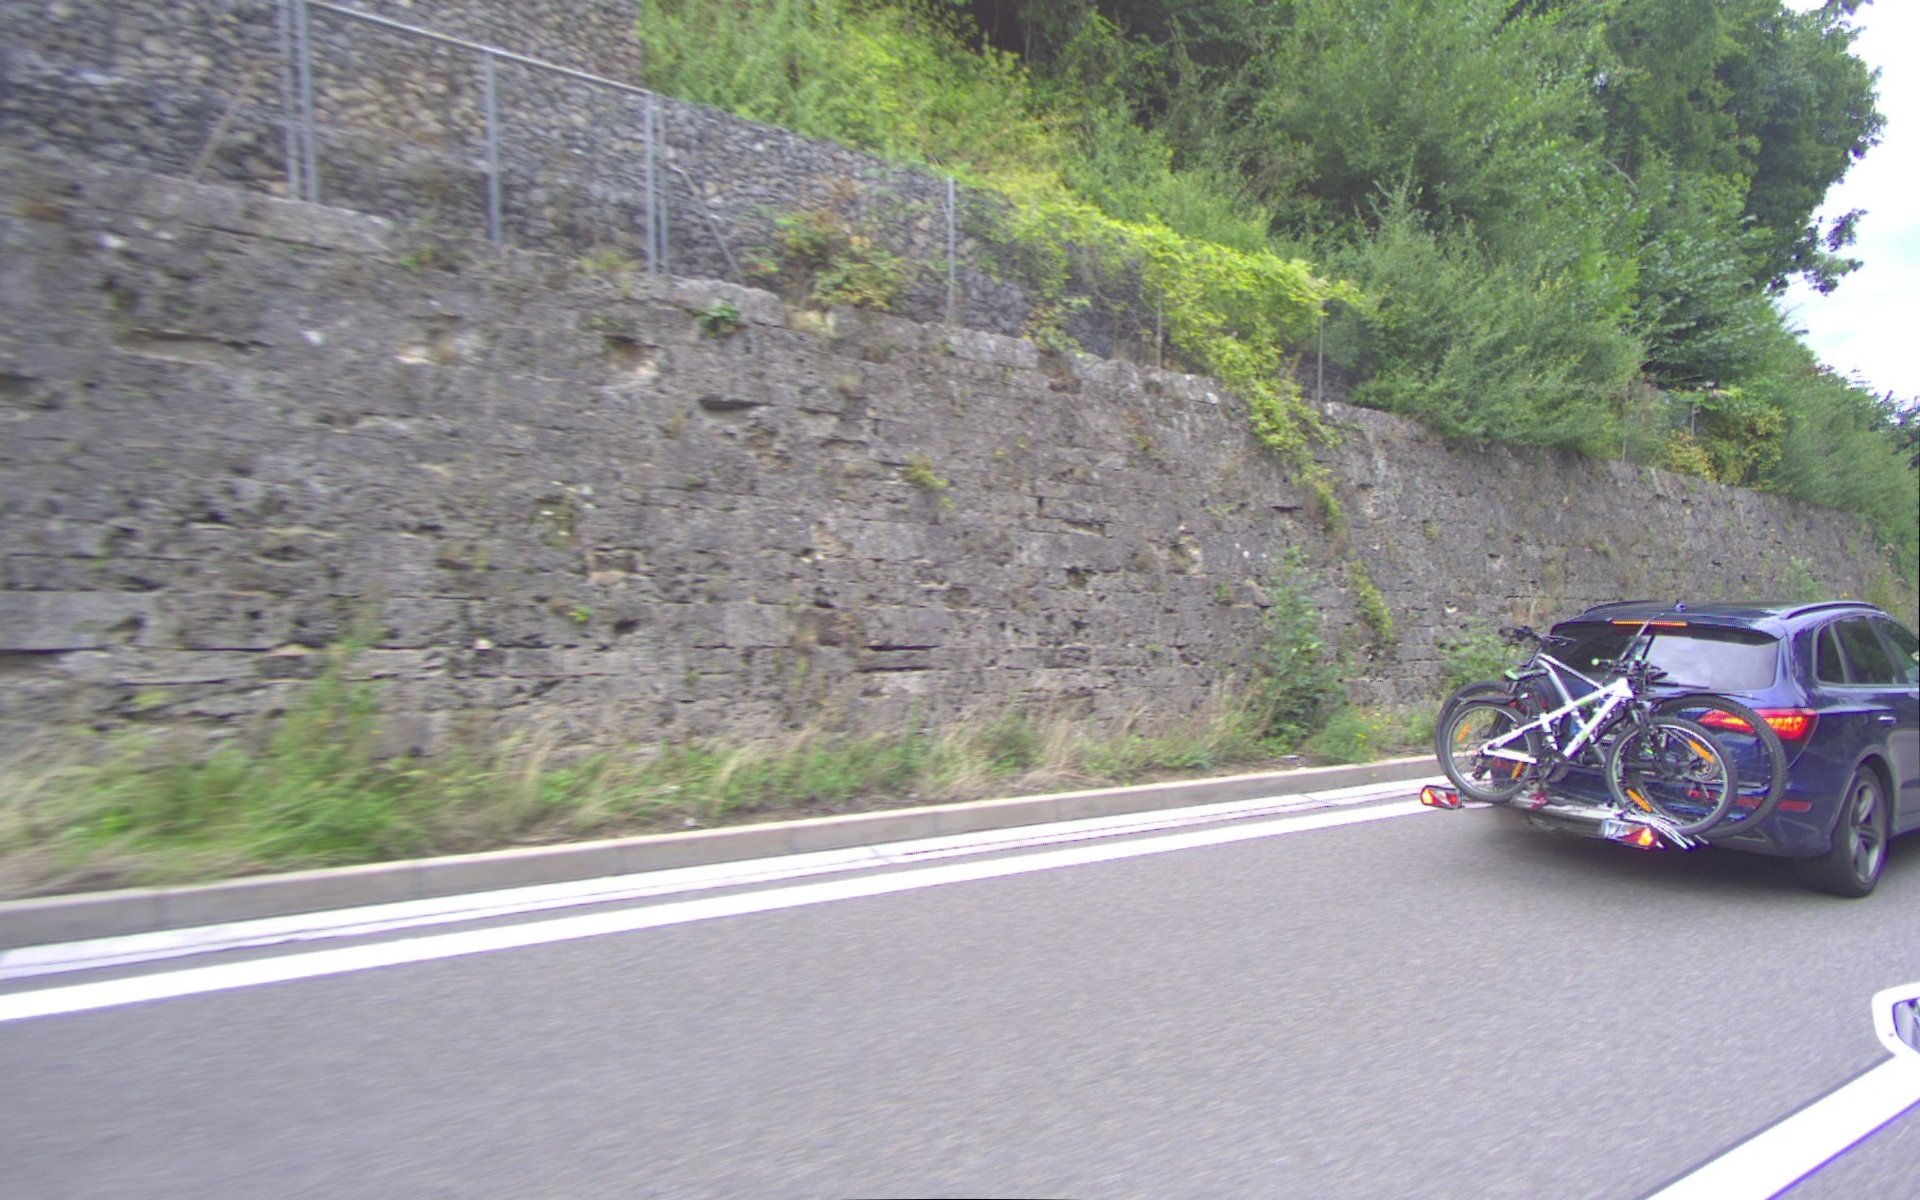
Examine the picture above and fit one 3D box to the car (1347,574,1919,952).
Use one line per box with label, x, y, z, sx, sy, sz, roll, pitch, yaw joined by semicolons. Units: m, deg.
car;5.232;0.802;6.767;5.526;1.614;1.959;2;2;-33
